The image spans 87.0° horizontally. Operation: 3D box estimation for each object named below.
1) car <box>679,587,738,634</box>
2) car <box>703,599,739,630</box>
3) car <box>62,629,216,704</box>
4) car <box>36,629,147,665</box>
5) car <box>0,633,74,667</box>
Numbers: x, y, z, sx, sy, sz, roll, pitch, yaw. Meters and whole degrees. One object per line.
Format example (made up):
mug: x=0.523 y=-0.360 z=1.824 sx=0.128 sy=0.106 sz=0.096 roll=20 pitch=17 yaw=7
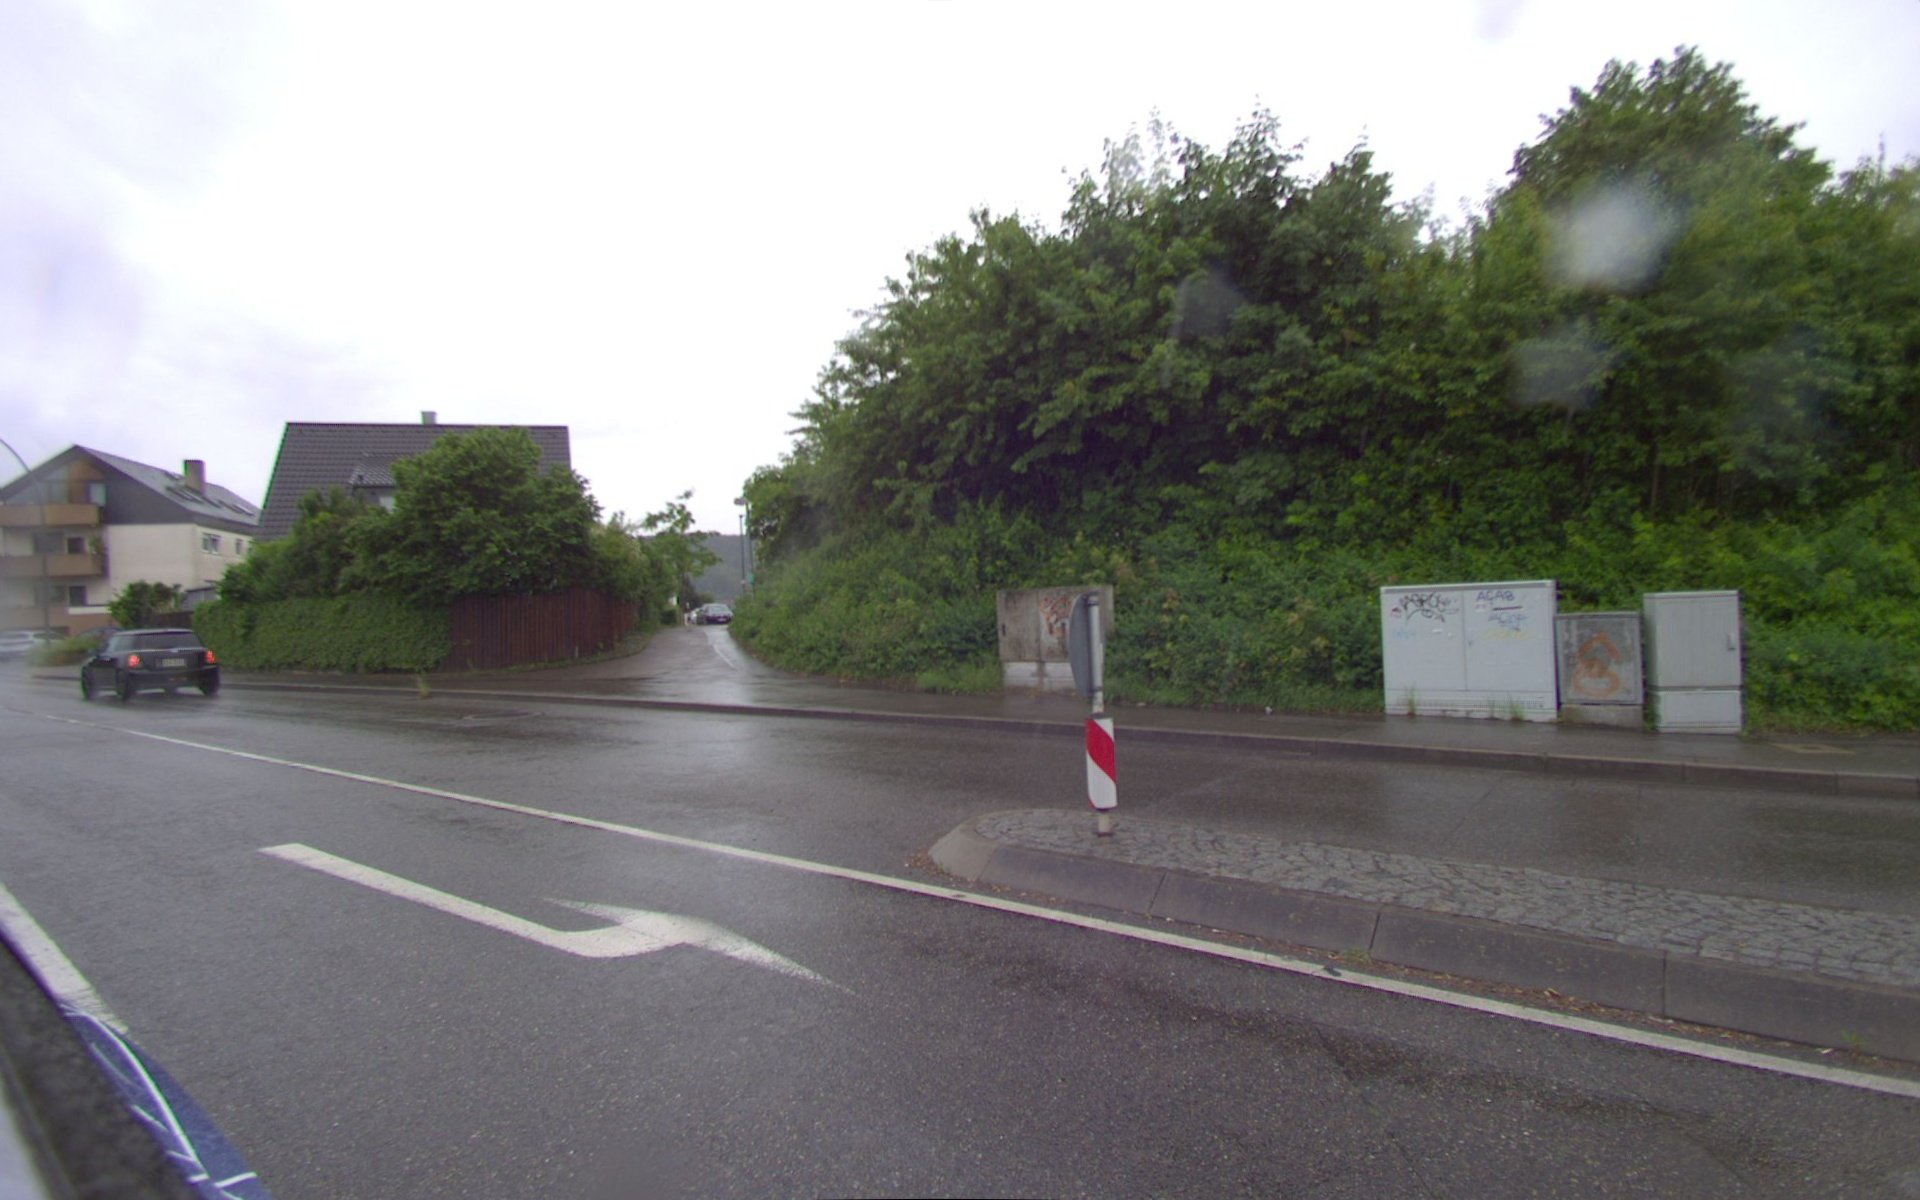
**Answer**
car: x=-9.161 y=0.381 z=37.051 sx=1.683 sy=1.600 sz=3.668 roll=-1 pitch=0 yaw=-8
car: x=-15.576 y=0.942 z=66.173 sx=1.968 sy=1.873 sz=4.008 roll=-2 pitch=0 yaw=-9
car: x=-17.383 y=1.351 z=21.392 sx=3.453 sy=1.397 sz=1.661 roll=-2 pitch=0 yaw=35
car: x=-41.482 y=2.226 z=48.445 sx=3.609 sy=1.530 sz=1.759 roll=-2 pitch=0 yaw=-15
car: x=-46.759 y=2.503 z=50.922 sx=1.837 sy=1.530 sz=4.012 roll=-2 pitch=0 yaw=-18
